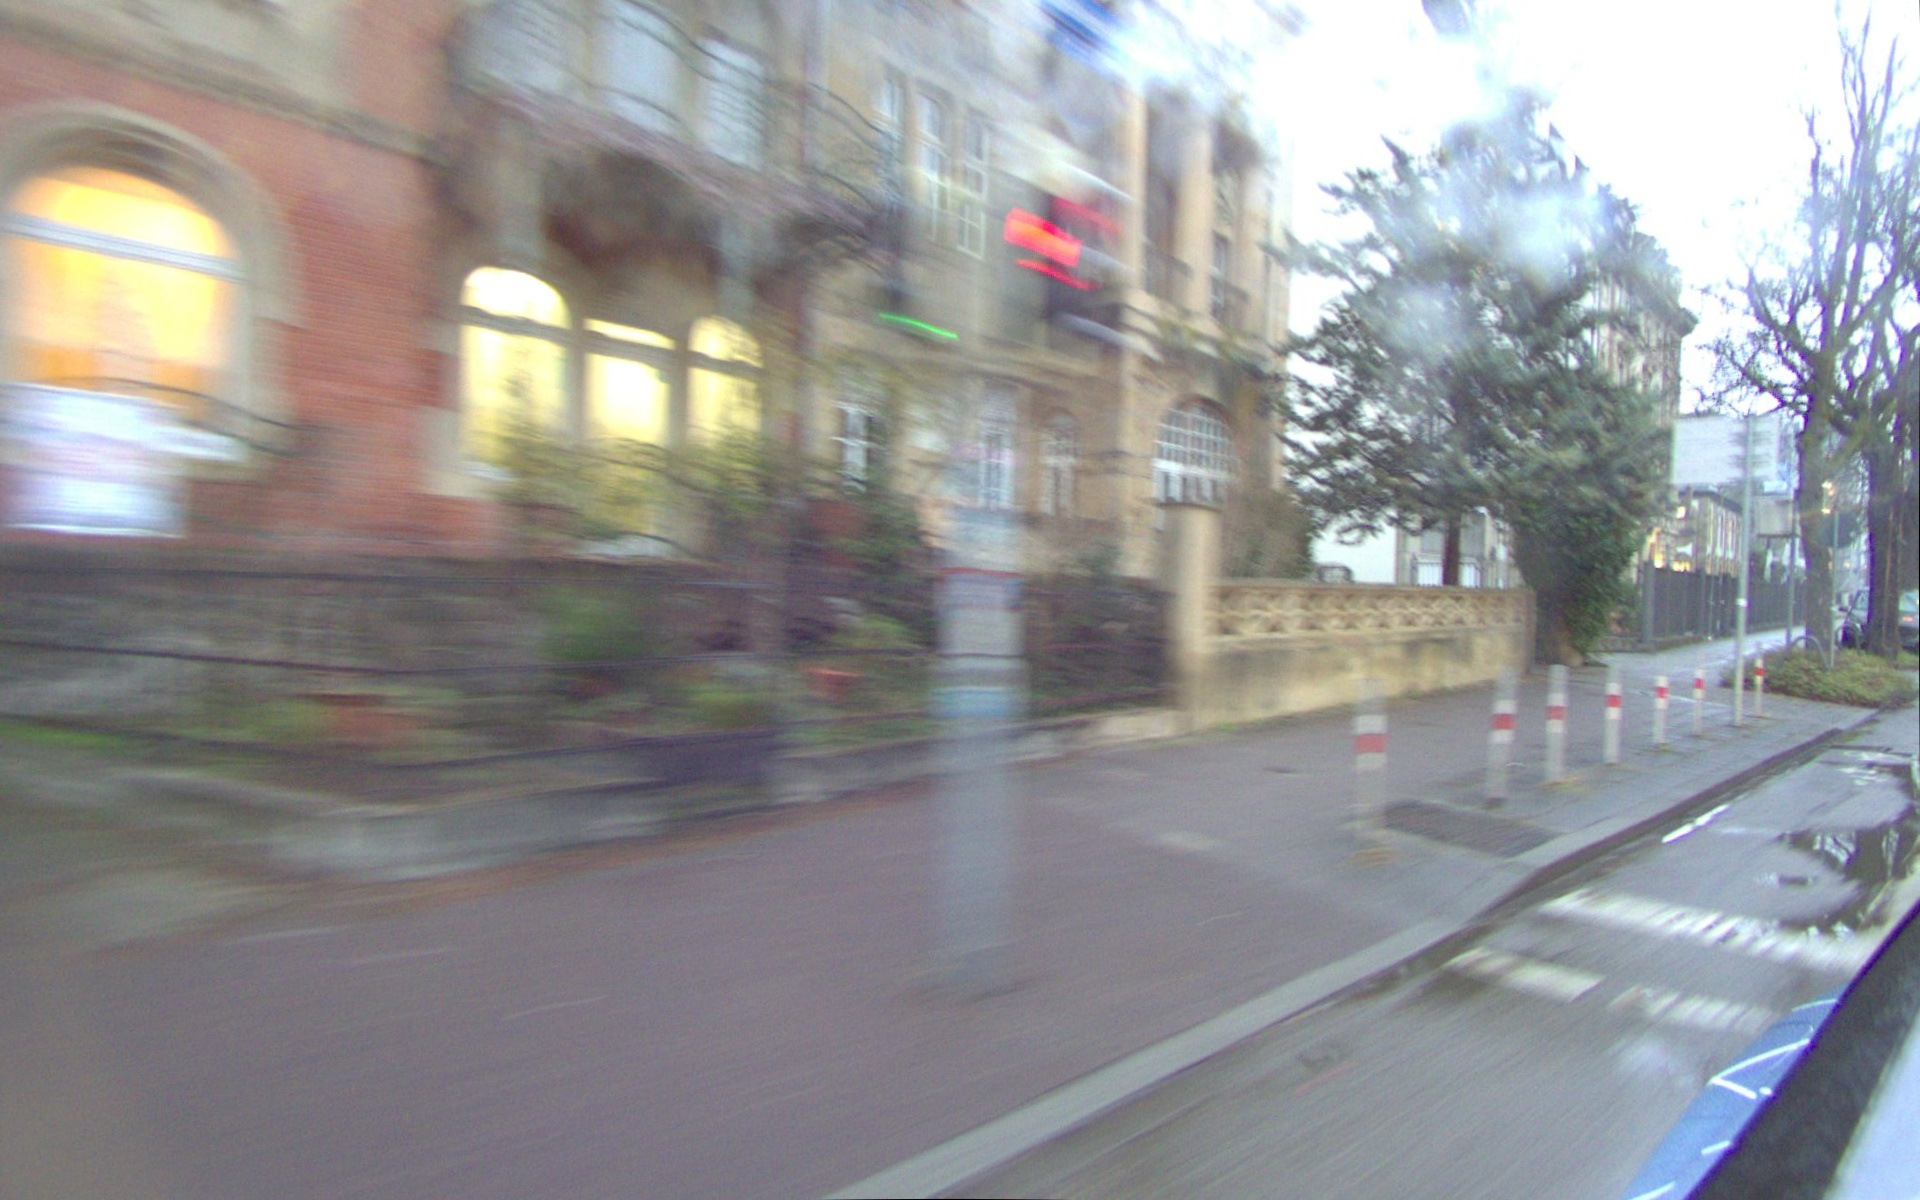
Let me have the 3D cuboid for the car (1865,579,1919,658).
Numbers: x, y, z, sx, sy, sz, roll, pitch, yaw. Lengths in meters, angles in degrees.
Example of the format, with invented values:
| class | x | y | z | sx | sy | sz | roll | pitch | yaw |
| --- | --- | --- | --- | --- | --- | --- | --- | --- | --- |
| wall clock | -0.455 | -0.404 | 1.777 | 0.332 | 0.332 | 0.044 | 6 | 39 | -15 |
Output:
| class | x | y | z | sx | sy | sz | roll | pitch | yaw |
| --- | --- | --- | --- | --- | --- | --- | --- | --- | --- |
| car | 25.274 | 0.450 | 26.883 | 1.721 | 1.970 | 4.438 | -1 | -1 | 43 |

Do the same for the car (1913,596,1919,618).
| class | x | y | z | sx | sy | sz | roll | pitch | yaw |
| --- | --- | --- | --- | --- | --- | --- | --- | --- | --- |
| car | 66.330 | 0.496 | 69.043 | 1.720 | 1.431 | 3.785 | 3 | 2 | 41 |
